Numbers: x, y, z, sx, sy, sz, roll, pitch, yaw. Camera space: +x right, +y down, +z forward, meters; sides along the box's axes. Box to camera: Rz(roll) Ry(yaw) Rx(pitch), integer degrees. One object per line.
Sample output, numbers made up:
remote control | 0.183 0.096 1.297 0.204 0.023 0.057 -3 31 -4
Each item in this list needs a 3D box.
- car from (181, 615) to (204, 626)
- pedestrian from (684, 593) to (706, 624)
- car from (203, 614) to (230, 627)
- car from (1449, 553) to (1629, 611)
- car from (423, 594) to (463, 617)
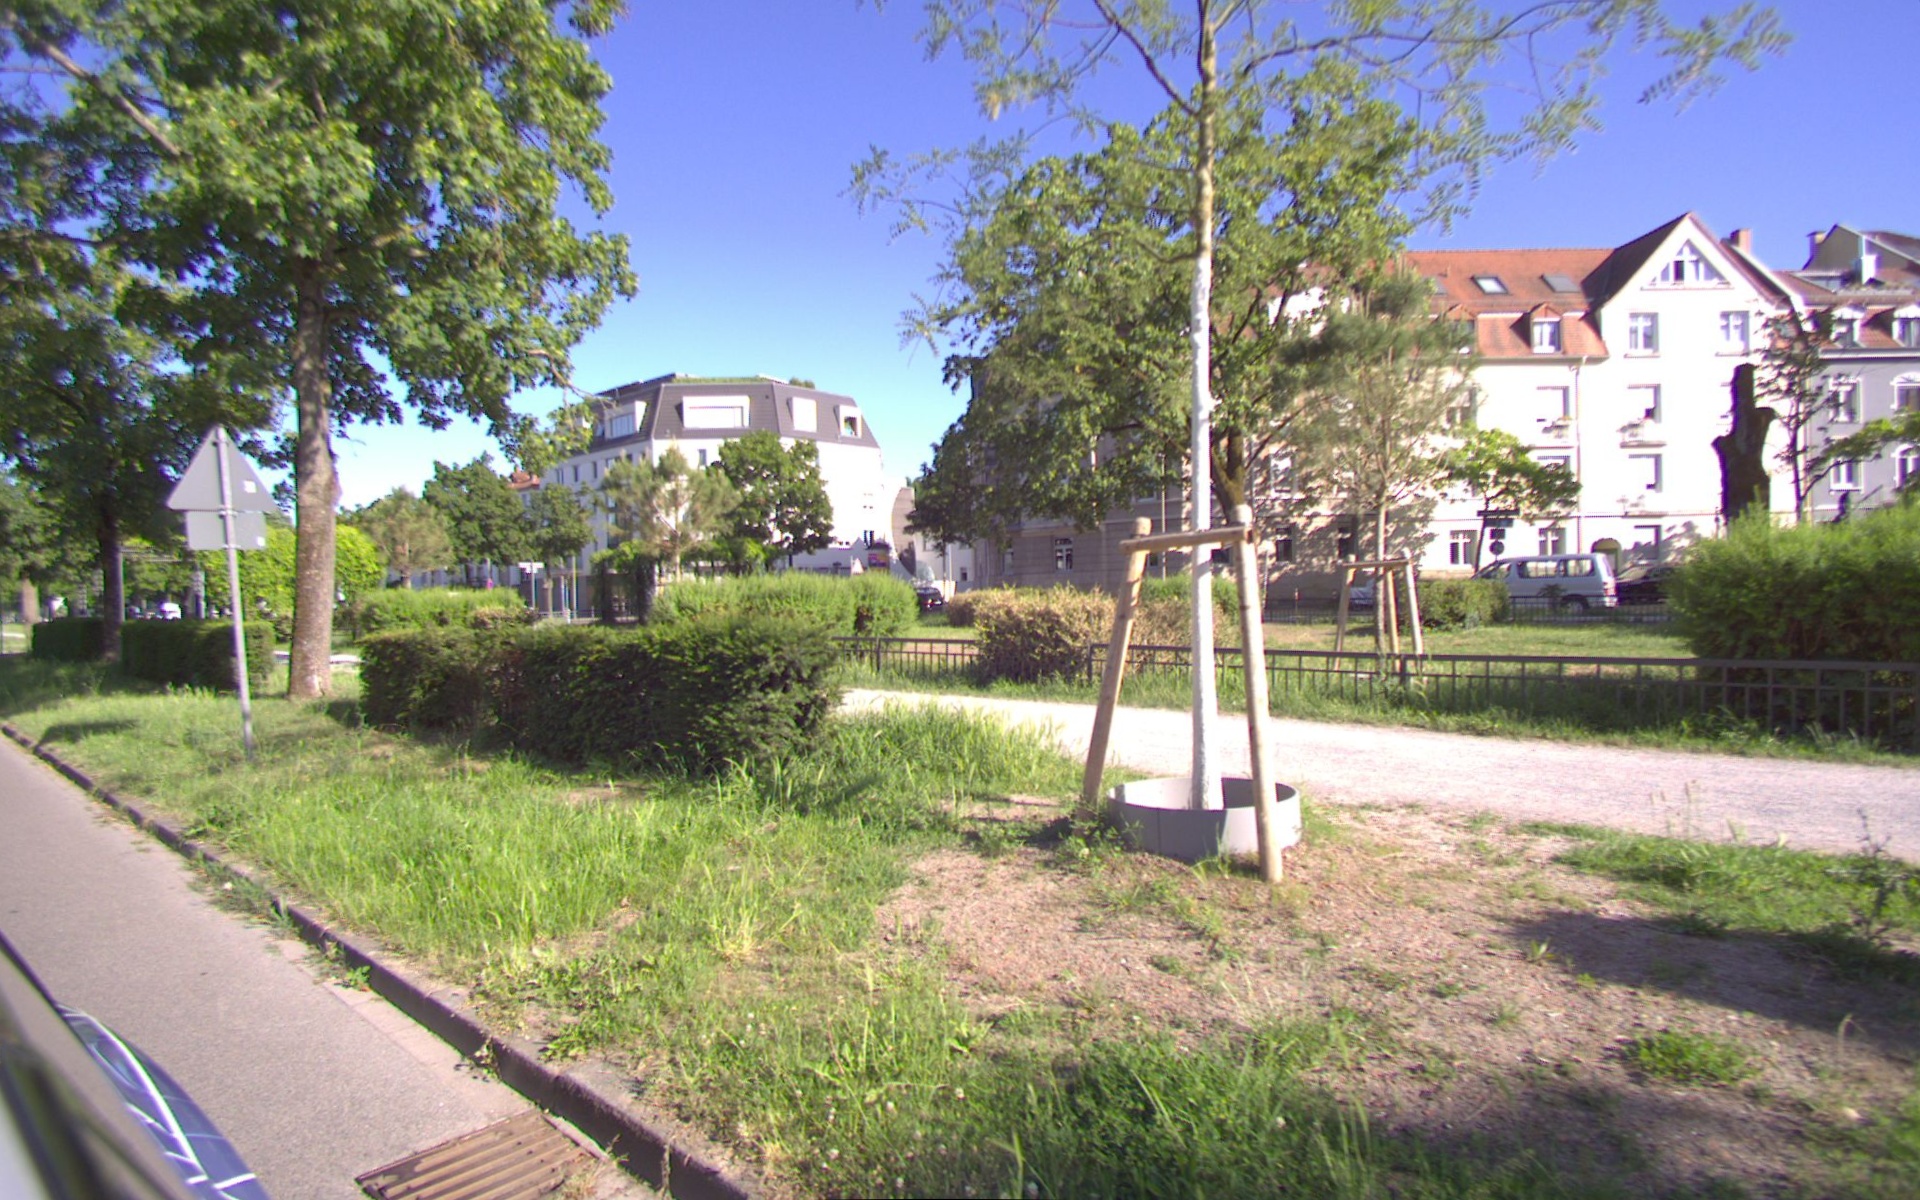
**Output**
car | -112.552 3.019 148.412 4.403 1.625 1.776 -1 0 41
pedestrian | -11.052 0.352 42.206 0.640 1.247 0.651 -3 1 -43
car | -90.336 2.475 122.965 3.998 1.522 1.776 -1 0 41
car | 17.966 -0.544 31.555 4.586 1.647 1.775 -1 1 42
car | -47.624 0.473 93.132 4.406 2.044 1.915 -1 0 43
